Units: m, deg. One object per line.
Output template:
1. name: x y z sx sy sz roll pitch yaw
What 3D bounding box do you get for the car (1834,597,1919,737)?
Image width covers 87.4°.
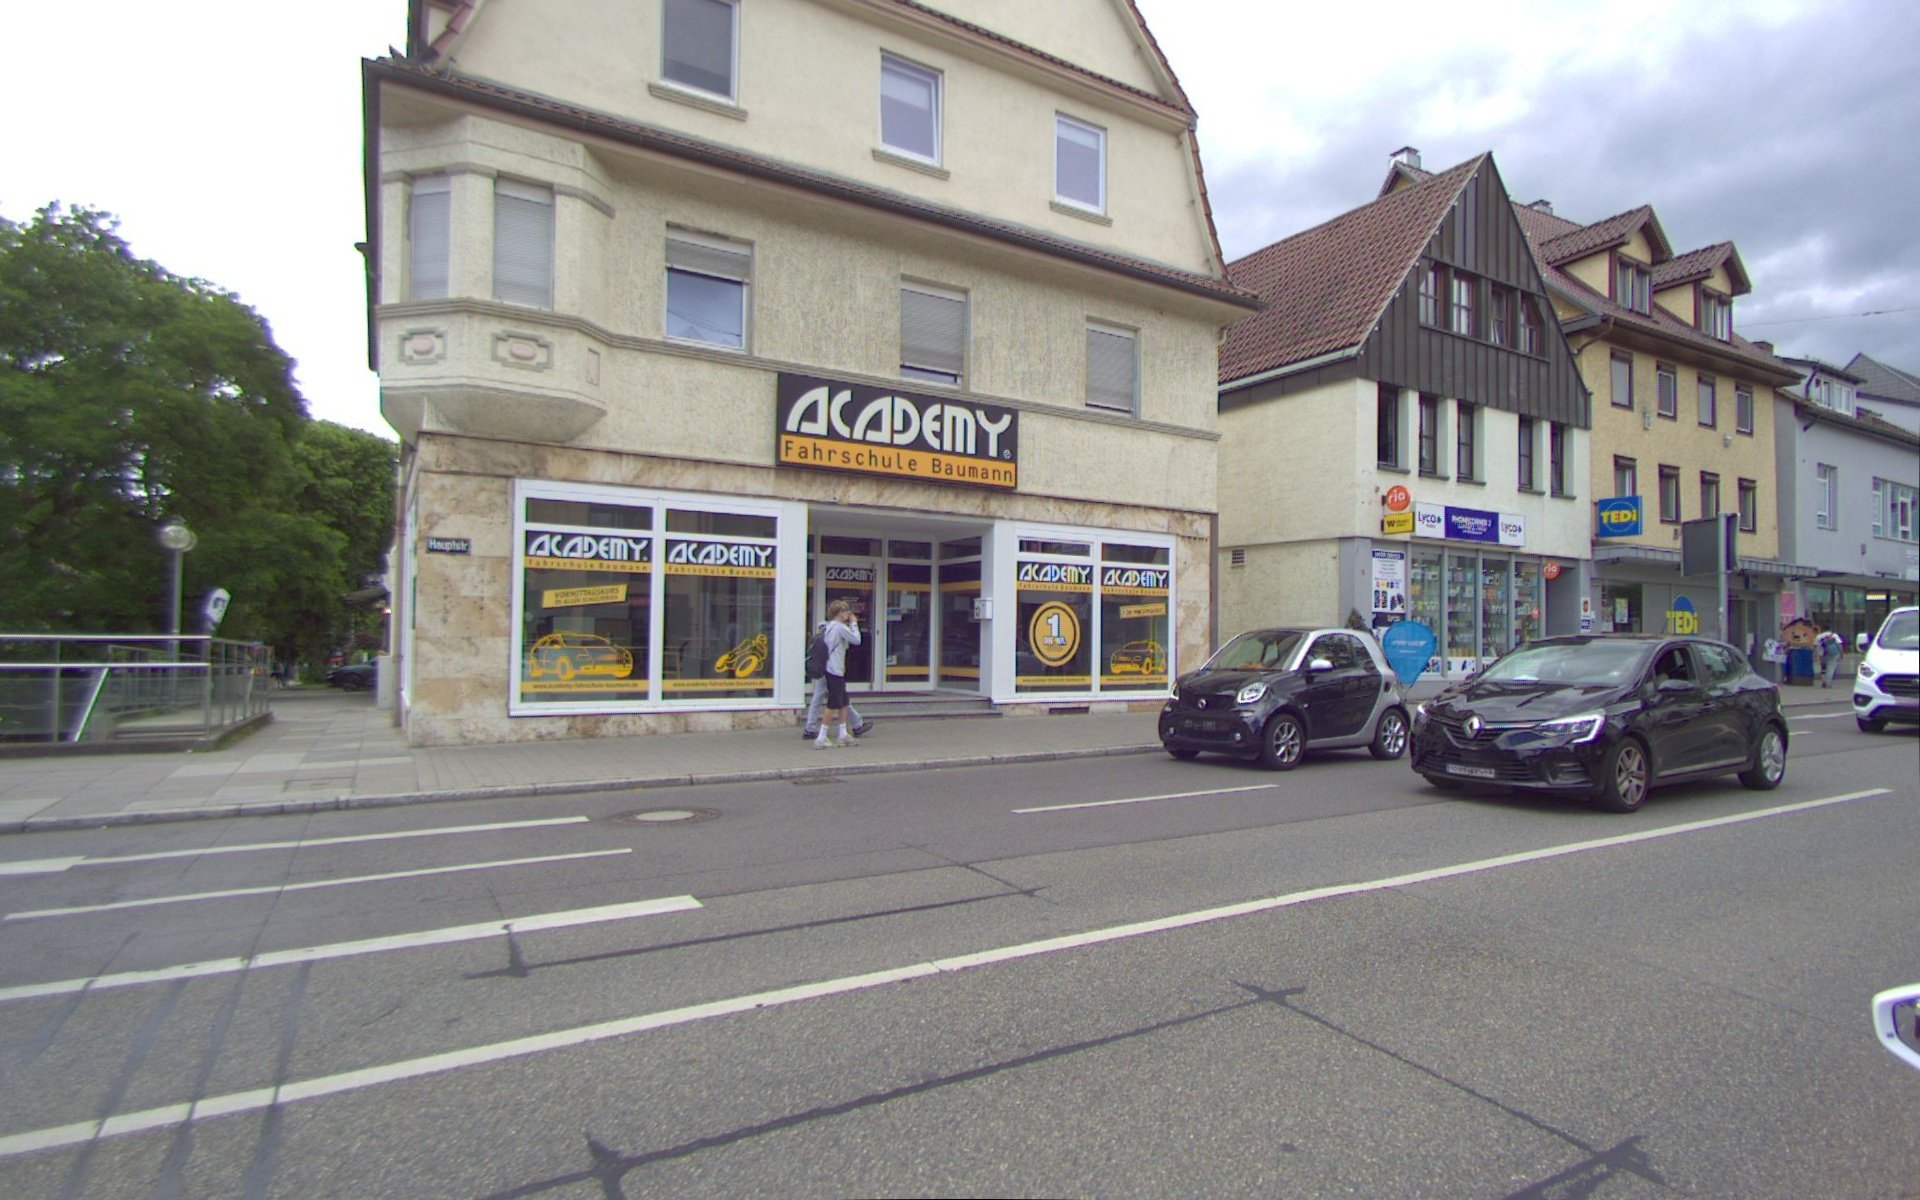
1. car: 15.849 1.016 15.610 5.082 1.986 1.952 2 -3 -32

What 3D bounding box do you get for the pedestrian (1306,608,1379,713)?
1. pedestrian: 6.791 1.054 17.837 0.798 1.770 0.861 1 1 -35

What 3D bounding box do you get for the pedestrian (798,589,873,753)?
1. pedestrian: -1.465 0.818 11.785 0.673 1.848 0.630 1 -2 -31

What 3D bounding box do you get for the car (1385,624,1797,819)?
1. car: 5.833 0.976 9.193 3.877 1.447 1.609 1 -3 -31

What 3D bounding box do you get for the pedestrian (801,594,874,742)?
1. pedestrian: -1.536 0.831 12.575 0.673 1.785 0.684 1 0 -31

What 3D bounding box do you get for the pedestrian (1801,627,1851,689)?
1. pedestrian: 23.943 1.591 27.761 0.971 1.656 0.811 1 0 -36

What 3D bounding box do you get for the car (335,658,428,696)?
1. car: -25.396 3.350 44.139 3.467 1.543 1.609 1 -3 -31

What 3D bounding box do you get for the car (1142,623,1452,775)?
1. car: 3.996 1.081 11.833 3.467 1.543 1.609 1 -3 -31

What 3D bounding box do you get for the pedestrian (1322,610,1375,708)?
1. pedestrian: 7.393 1.097 19.110 0.791 1.770 0.868 2 1 28
